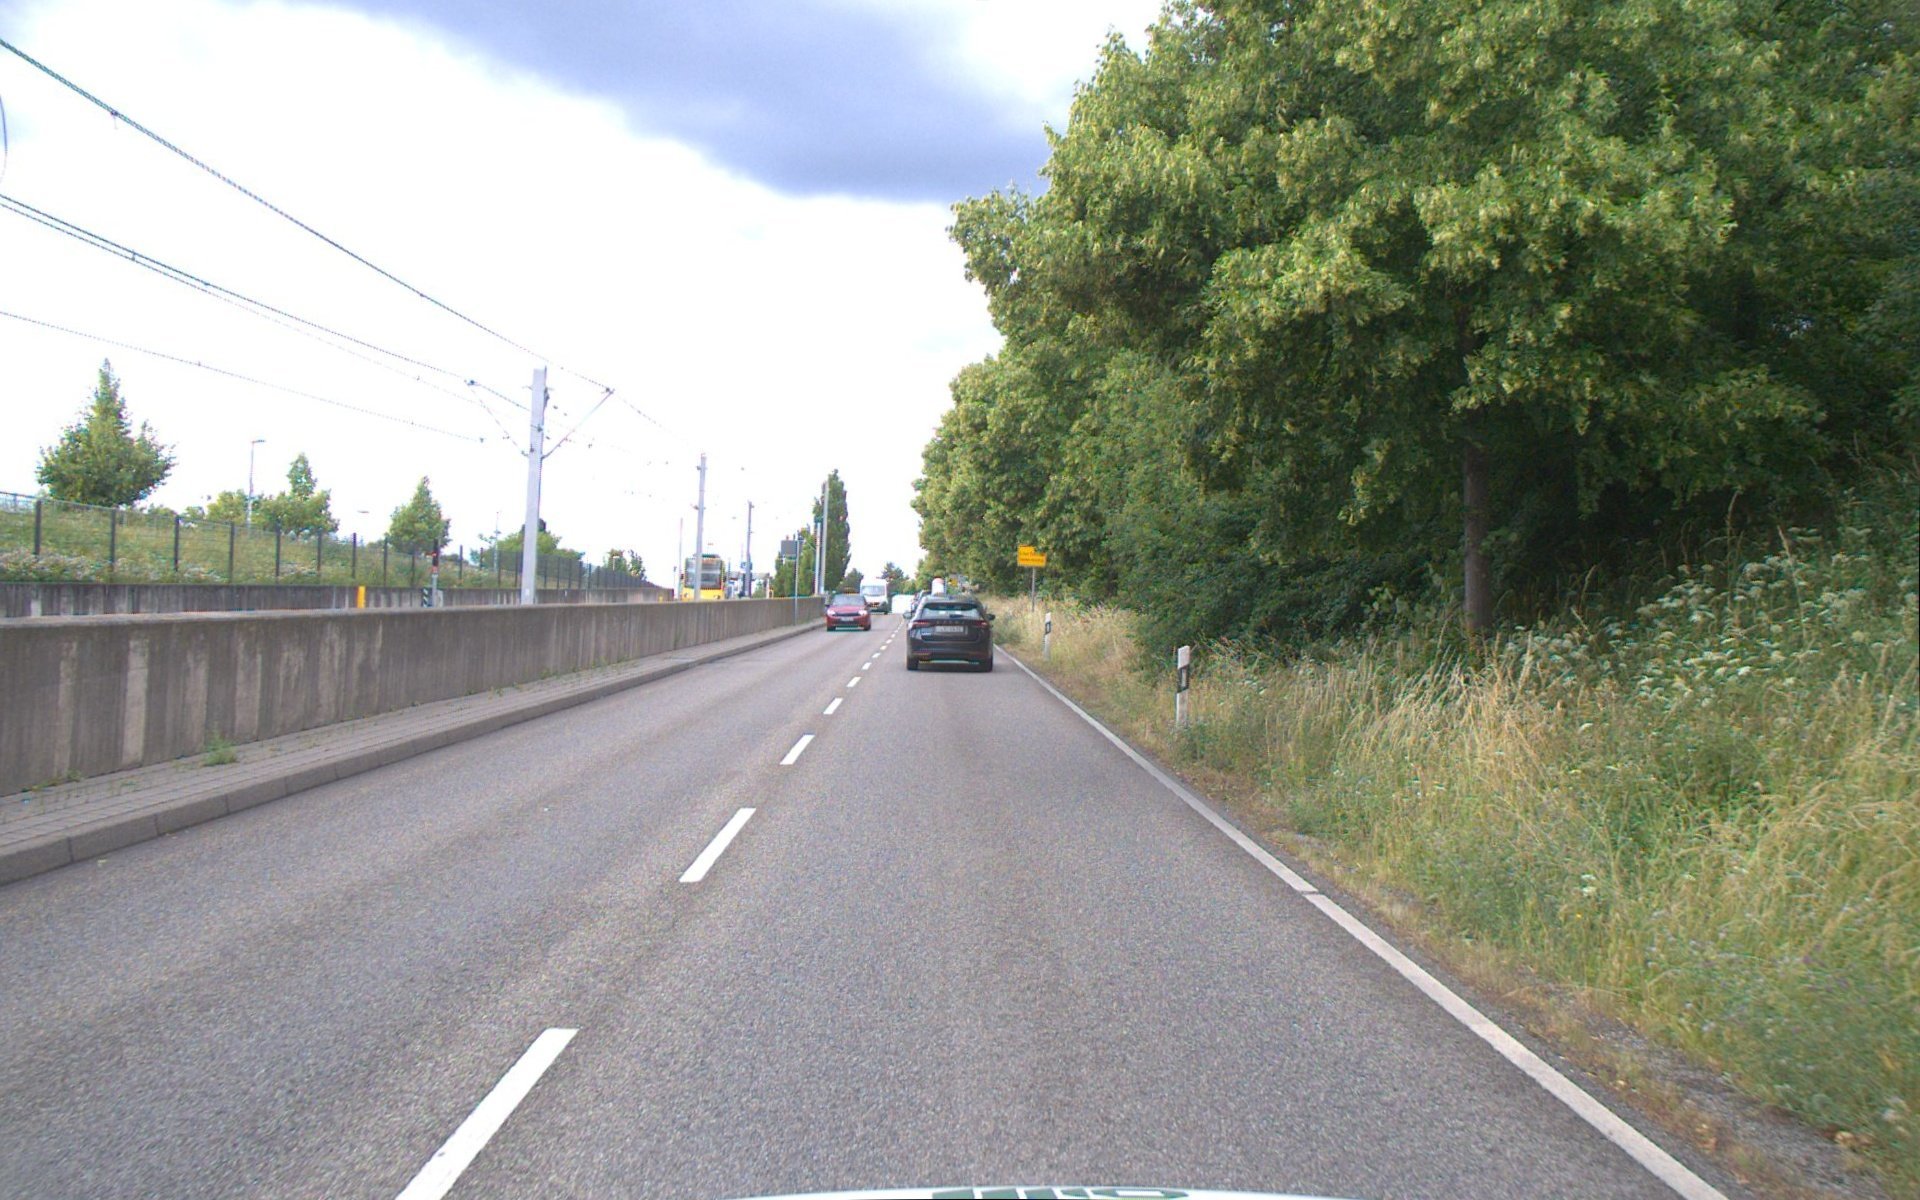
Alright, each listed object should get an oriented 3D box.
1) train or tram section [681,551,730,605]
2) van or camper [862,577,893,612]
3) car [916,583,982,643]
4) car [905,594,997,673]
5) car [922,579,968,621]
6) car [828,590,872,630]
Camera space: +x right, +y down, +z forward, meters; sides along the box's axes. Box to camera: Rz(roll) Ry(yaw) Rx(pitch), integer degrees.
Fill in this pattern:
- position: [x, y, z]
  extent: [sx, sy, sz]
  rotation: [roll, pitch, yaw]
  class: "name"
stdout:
- position: [-16.939, -1.283, 109.028]
  extent: [2.760, 3.172, 18.868]
  rotation: [1, -1, -10]
  class: "train or tram section"
- position: [-5.878, -0.411, 118.429]
  extent: [2.040, 2.438, 6.135]
  rotation: [1, 0, -1]
  class: "van or camper"
- position: [-0.361, 0.372, 51.785]
  extent: [1.953, 1.783, 3.999]
  rotation: [1, 0, -1]
  class: "car"
- position: [-0.212, 0.635, 33.747]
  extent: [1.745, 1.493, 3.999]
  rotation: [1, 0, -1]
  class: "car"
- position: [-0.676, 0.021, 73.378]
  extent: [1.953, 1.771, 3.999]
  rotation: [1, -1, -1]
  class: "car"
- position: [-4.408, 0.379, 66.578]
  extent: [1.629, 1.572, 3.951]
  rotation: [0, 0, -2]
  class: "car"
